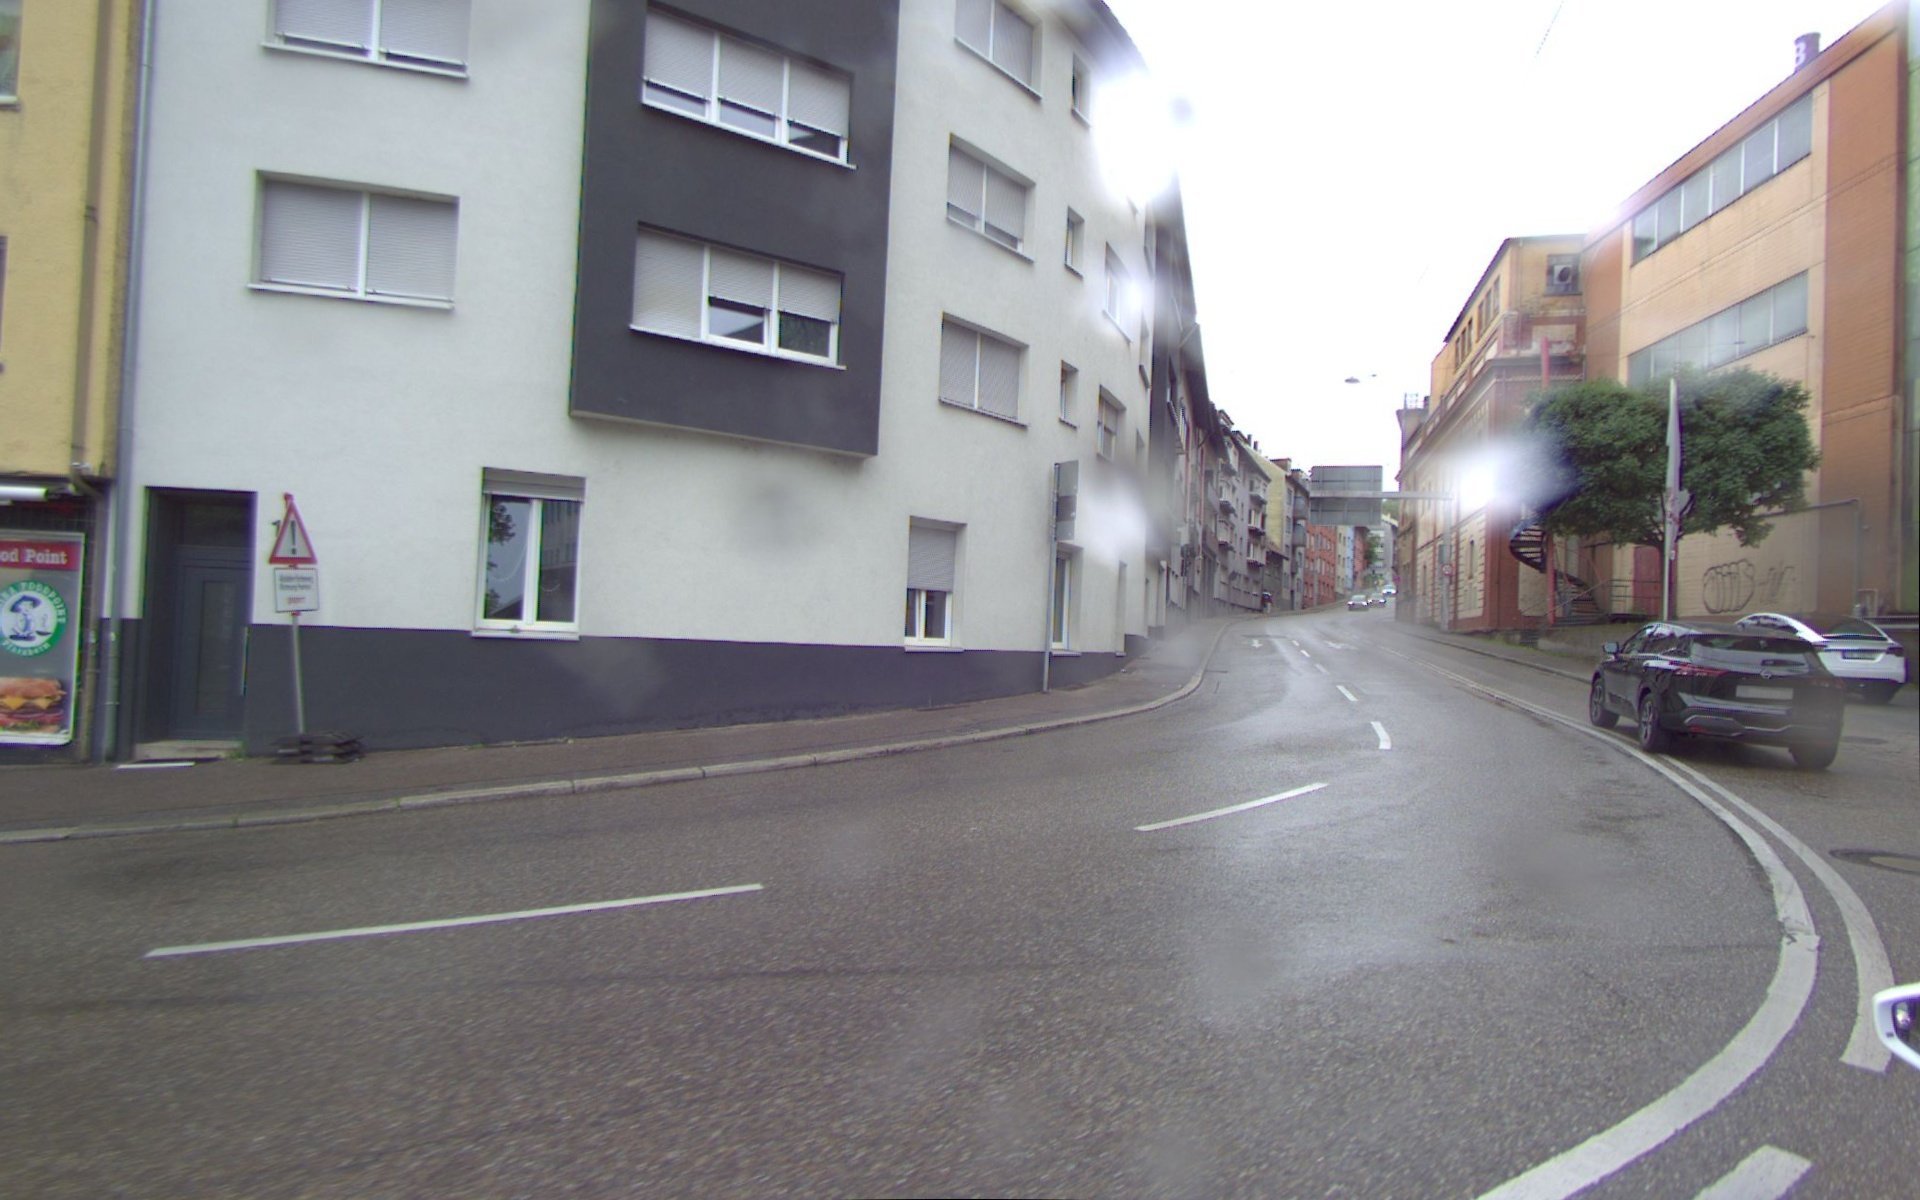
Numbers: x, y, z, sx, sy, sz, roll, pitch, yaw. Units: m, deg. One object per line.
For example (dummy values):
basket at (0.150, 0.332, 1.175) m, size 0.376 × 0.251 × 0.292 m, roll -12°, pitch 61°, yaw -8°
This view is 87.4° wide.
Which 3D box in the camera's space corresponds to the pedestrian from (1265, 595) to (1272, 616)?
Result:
pedestrian at (26.555, 0.450, 86.540) m, size 0.514 × 1.800 × 0.622 m, roll 1°, pitch 1°, yaw 23°

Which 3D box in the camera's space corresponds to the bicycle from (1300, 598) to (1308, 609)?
bicycle at (37.066, 0.364, 108.099) m, size 0.491 × 1.122 × 1.797 m, roll 2°, pitch 2°, yaw 29°

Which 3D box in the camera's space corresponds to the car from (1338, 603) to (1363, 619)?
car at (41.410, 1.167, 106.504) m, size 1.768 × 1.530 × 3.992 m, roll 1°, pitch -1°, yaw 31°

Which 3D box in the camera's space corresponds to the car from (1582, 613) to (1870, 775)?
car at (9.480, 1.026, 12.841) m, size 1.850 × 1.615 × 3.920 m, roll 3°, pitch 1°, yaw 22°

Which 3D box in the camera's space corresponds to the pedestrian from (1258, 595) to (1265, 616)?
pedestrian at (26.034, 0.439, 86.776) m, size 0.514 × 1.800 × 0.622 m, roll 1°, pitch 1°, yaw 23°

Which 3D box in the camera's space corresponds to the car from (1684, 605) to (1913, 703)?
car at (17.604, 1.027, 21.453) m, size 1.821 × 1.639 × 4.916 m, roll 1°, pitch 2°, yaw 15°

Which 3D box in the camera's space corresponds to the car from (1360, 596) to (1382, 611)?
car at (47.992, 0.437, 117.173) m, size 1.768 × 1.530 × 3.992 m, roll 1°, pitch -1°, yaw 31°
